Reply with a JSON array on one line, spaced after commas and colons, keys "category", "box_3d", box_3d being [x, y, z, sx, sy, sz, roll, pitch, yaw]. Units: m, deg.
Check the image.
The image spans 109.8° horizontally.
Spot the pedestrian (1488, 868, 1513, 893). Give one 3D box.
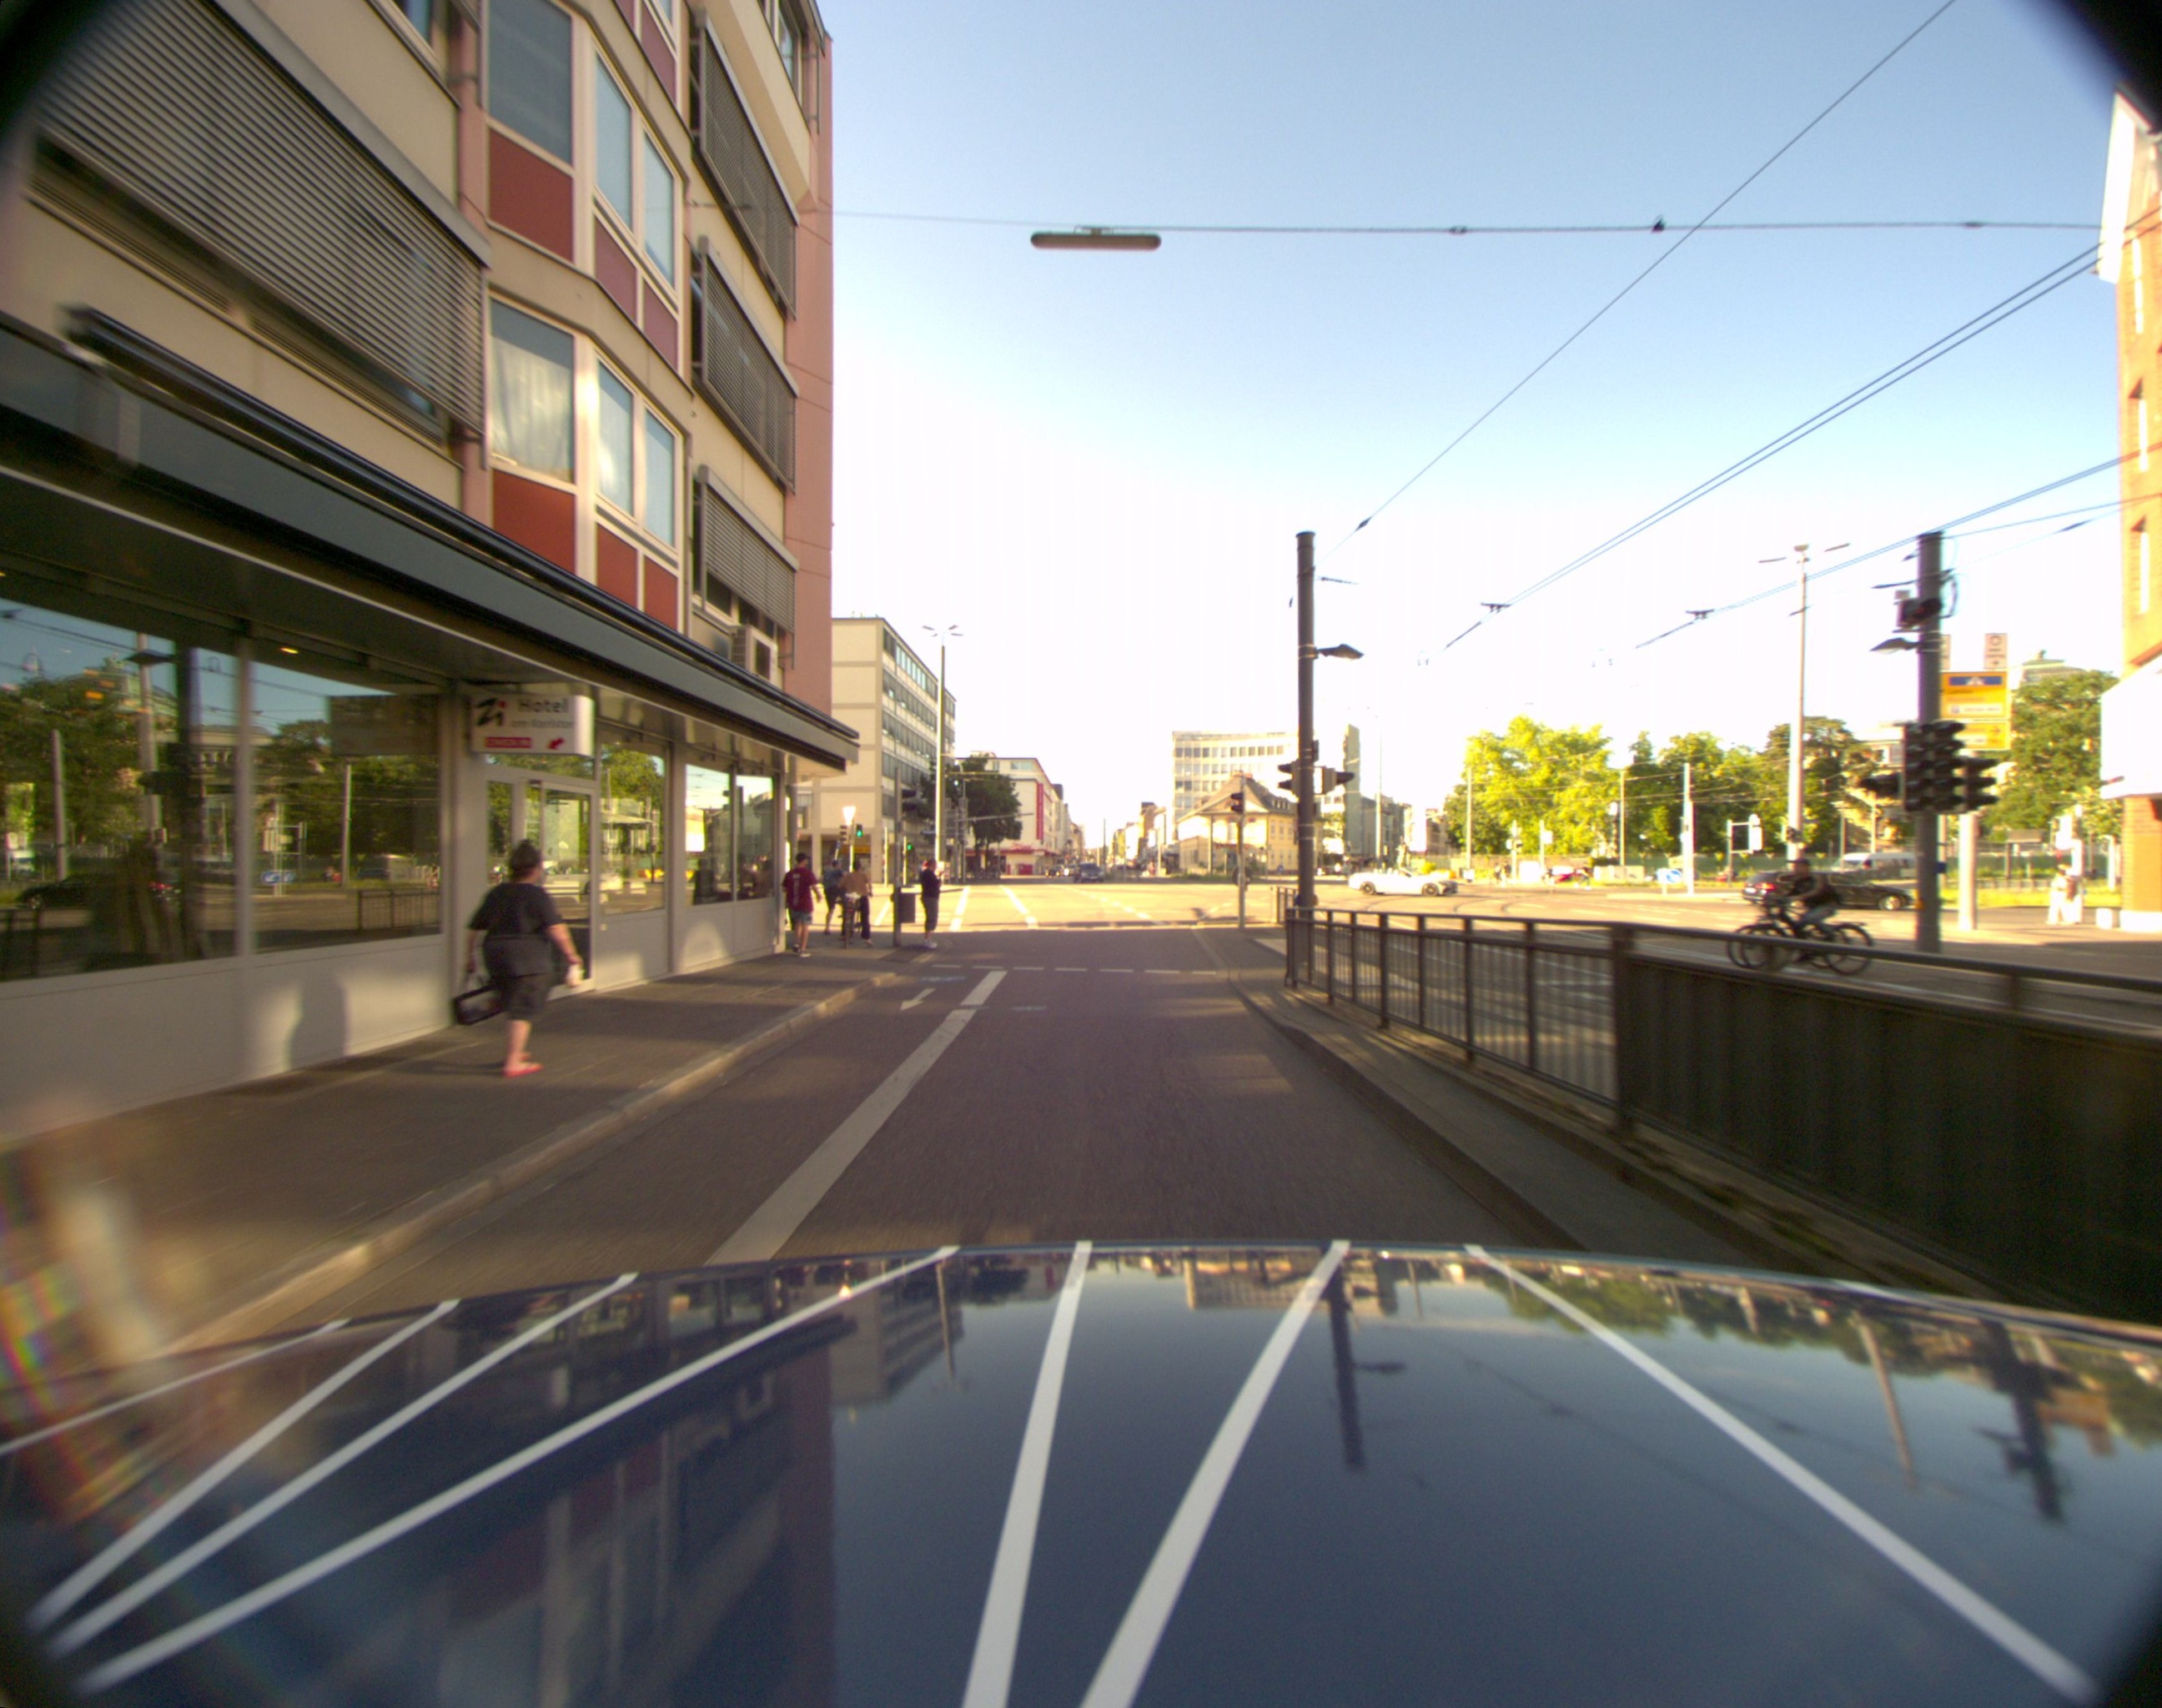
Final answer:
[{"category": "pedestrian", "box_3d": [34.365, 2.178, 62.236, 1.530, 2.002, 1.663, -2, 0, 21]}]

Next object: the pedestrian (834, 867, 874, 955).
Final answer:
[{"category": "pedestrian", "box_3d": [-4.294, 1.055, 14.391, 0.655, 1.597, 0.595, -1, 0, -13]}]

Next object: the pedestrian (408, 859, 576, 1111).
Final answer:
[{"category": "pedestrian", "box_3d": [-3.972, 0.848, 5.157, 0.709, 1.604, 0.495, 2, 0, 0]}]

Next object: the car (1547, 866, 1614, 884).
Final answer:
[{"category": "car", "box_3d": [39.151, 1.663, 59.626, 4.125, 1.351, 1.930, 0, 0, -6]}]

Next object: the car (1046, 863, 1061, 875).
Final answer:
[{"category": "car", "box_3d": [-3.276, 1.800, 91.426, 1.771, 1.458, 3.812, 0, 0, -2]}]

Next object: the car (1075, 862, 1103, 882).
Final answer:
[{"category": "car", "box_3d": [0.598, 1.401, 60.050, 1.999, 1.496, 3.999, 0, 0, -2]}]

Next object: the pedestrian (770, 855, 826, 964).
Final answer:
[{"category": "pedestrian", "box_3d": [-4.673, 0.897, 12.599, 0.671, 1.751, 0.680, -1, 0, -5]}]

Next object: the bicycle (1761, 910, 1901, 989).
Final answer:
[{"category": "bicycle", "box_3d": [10.162, 1.280, 10.305, 1.592, 1.015, 0.418, 0, 0, -5]}]

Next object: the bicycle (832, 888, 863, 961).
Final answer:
[{"category": "bicycle", "box_3d": [-4.368, 1.287, 14.289, 0.430, 1.206, 1.822, -1, 0, -14]}]

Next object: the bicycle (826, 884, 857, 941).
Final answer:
[{"category": "bicycle", "box_3d": [-5.396, 1.281, 17.066, 0.483, 1.165, 1.756, -1, 0, -23]}]

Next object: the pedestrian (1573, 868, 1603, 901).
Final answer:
[{"category": "pedestrian", "box_3d": [31.590, 1.893, 47.381, 1.442, 2.002, 1.181, -2, 0, 37]}]

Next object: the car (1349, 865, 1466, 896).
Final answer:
[{"category": "car", "box_3d": [15.427, 1.222, 36.030, 4.679, 1.351, 2.004, 0, 0, 43]}]

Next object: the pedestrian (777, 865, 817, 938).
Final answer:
[{"category": "pedestrian", "box_3d": [-6.510, 1.066, 17.409, 0.670, 1.613, 0.648, -1, 0, -35]}]

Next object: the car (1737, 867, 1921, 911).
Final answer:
[{"category": "car", "box_3d": [28.069, 1.294, 28.706, 4.526, 1.527, 2.003, 0, 0, 17]}]

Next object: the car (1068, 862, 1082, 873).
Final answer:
[{"category": "car", "box_3d": [-0.873, 1.820, 100.945, 1.771, 1.458, 3.812, 0, 0, -2]}]

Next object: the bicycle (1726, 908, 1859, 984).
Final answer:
[{"category": "bicycle", "box_3d": [10.079, 1.295, 10.779, 1.592, 1.027, 0.418, 0, 0, -5]}]

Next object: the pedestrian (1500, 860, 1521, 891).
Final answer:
[{"category": "pedestrian", "box_3d": [28.528, 1.401, 50.469, 1.108, 2.002, 1.216, -2, 0, 31]}]

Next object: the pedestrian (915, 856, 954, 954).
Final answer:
[{"category": "pedestrian", "box_3d": [-2.838, 0.964, 14.722, 0.680, 1.832, 0.606, -1, 0, -12]}]

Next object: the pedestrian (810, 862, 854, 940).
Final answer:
[{"category": "pedestrian", "box_3d": [-5.640, 1.040, 17.188, 0.829, 1.701, 0.784, -1, 0, -25]}]

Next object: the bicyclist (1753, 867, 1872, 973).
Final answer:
[{"category": "bicyclist", "box_3d": [9.979, 0.875, 10.405, 0.750, 1.372, 0.901, 0, 0, -4]}]
